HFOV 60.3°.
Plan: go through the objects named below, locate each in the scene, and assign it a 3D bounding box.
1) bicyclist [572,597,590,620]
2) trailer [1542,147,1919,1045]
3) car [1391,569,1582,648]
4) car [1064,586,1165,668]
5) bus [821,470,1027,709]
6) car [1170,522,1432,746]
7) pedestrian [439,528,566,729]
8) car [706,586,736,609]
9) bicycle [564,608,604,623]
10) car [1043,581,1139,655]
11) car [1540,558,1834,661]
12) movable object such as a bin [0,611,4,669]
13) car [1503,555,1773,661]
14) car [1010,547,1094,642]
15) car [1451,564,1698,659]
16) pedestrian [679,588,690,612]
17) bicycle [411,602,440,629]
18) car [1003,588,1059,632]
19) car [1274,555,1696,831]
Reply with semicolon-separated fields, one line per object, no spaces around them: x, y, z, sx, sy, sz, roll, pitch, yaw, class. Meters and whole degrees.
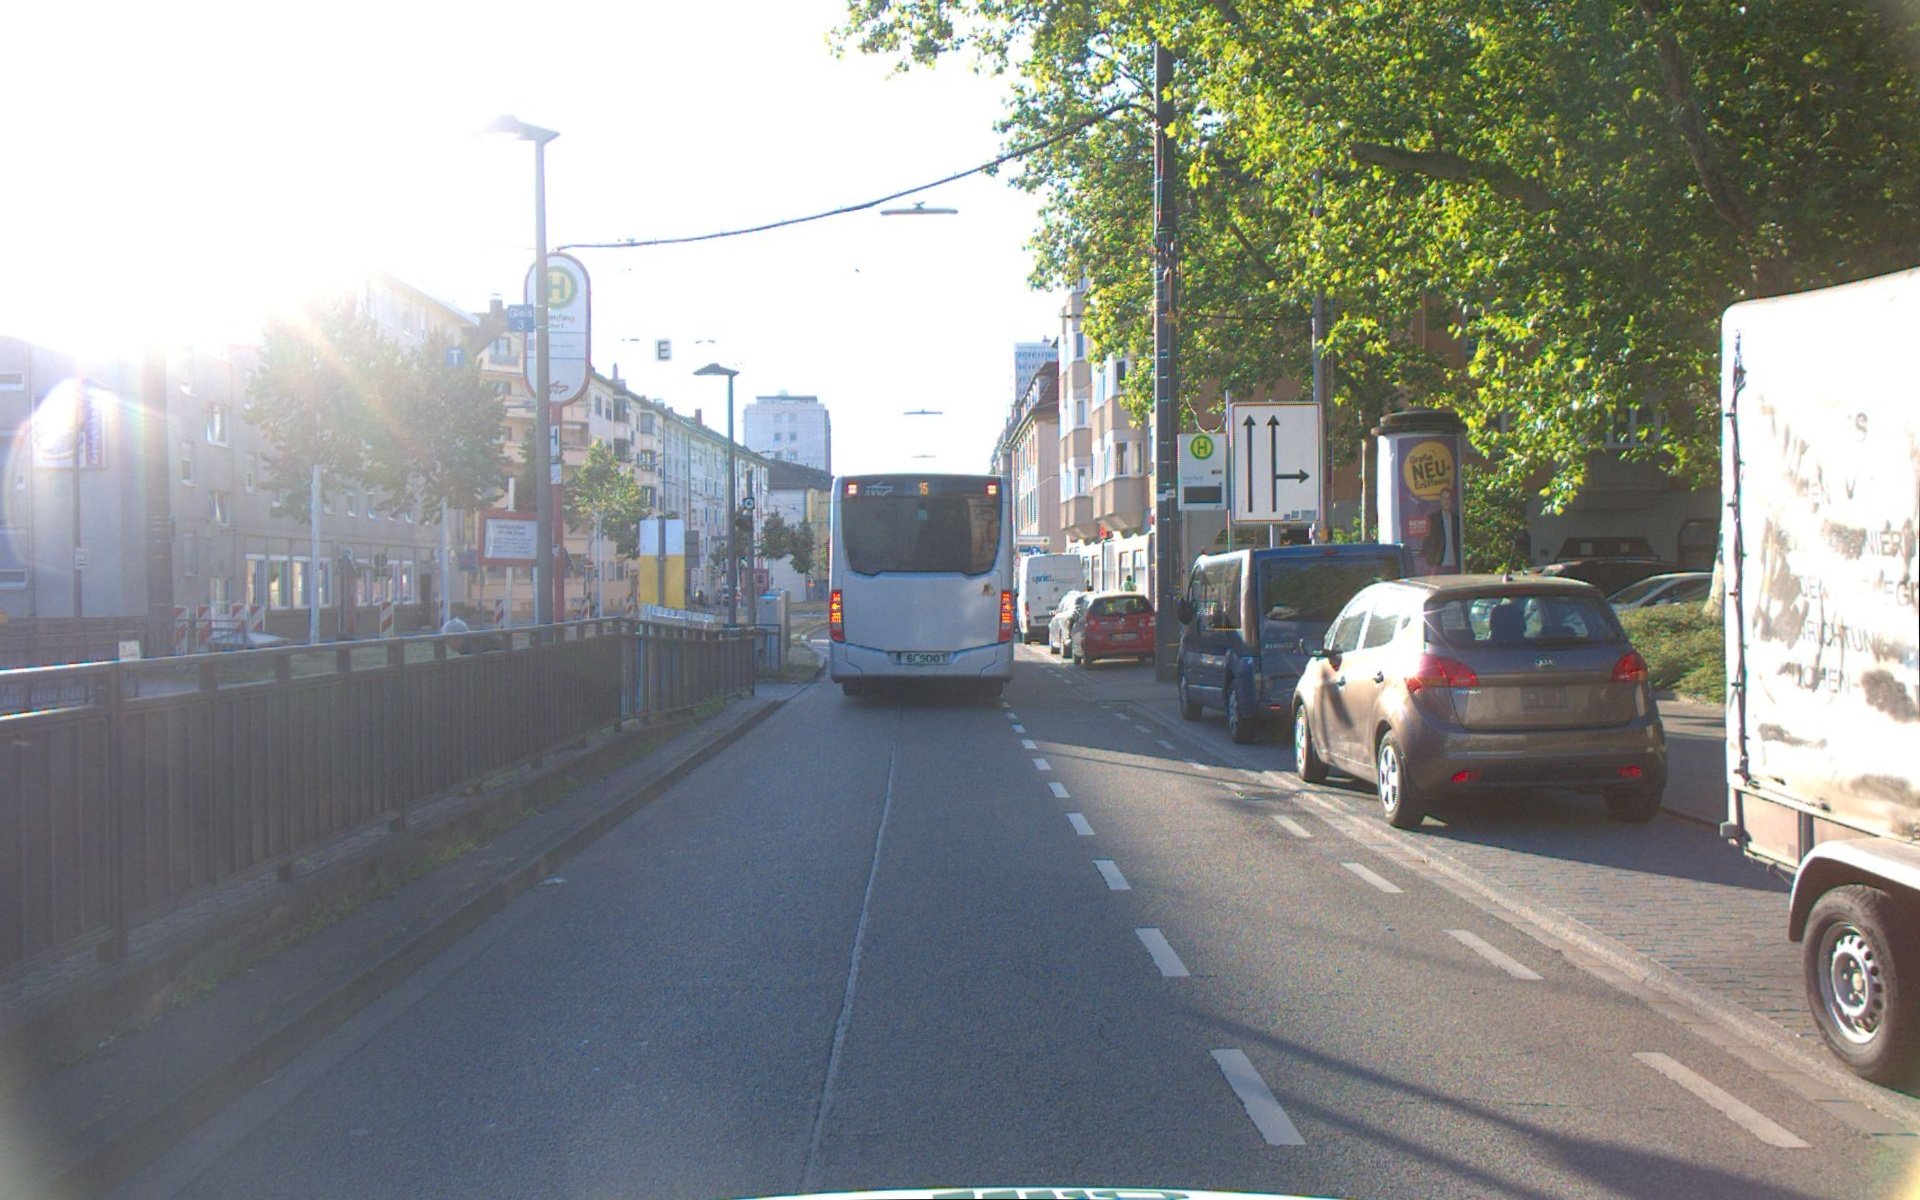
-19.795;0.457;86.386;0.916;1.181;0.642;-1;0;-12;bicyclist
3.729;-0.023;5.520;1.847;2.633;4.650;-1;0;-1;trailer
11.093;0.168;35.025;3.427;1.508;1.773;2;0;-2;car
3.114;0.521;33.985;1.538;1.520;3.624;-3;0;-2;car
-0.536;-0.170;26.165;2.683;3.109;8.852;1;0;-1;bus
3.569;0.311;18.172;1.846;2.115;4.562;-1;0;-1;car
-3.692;0.223;13.410;0.899;1.577;0.787;0;0;-10;pedestrian
-22.220;-0.227;153.832;1.952;2.049;4.002;-1;0;3;car
-19.641;0.807;86.419;2.027;0.745;0.760;-1;0;-12;bicycle
3.074;0.401;39.704;1.663;1.557;4.650;-4;0;-2;car
11.259;0.128;25.806;3.761;1.461;1.803;1;2;0;car
-23.933;0.984;40.455;0.650;1.425;0.748;-1;0;-3;movable object such as a bin
11.300;0.121;27.743;3.761;1.660;1.856;1;0;0;car
2.727;-0.169;50.415;1.976;2.595;5.783;-4;0;-1;car
11.072;0.196;29.977;3.761;1.521;1.856;2;0;0;car
-23.484;-0.011;140.829;0.871;2.049;0.788;-1;0;-7;pedestrian
-23.624;0.669;73.138;0.731;1.134;1.778;-1;0;-1;bicycle
2.592;0.344;61.313;1.801;1.563;4.229;-1;0;-1;car
3.597;0.556;12.123;1.759;1.659;3.999;-1;0;-1;car
